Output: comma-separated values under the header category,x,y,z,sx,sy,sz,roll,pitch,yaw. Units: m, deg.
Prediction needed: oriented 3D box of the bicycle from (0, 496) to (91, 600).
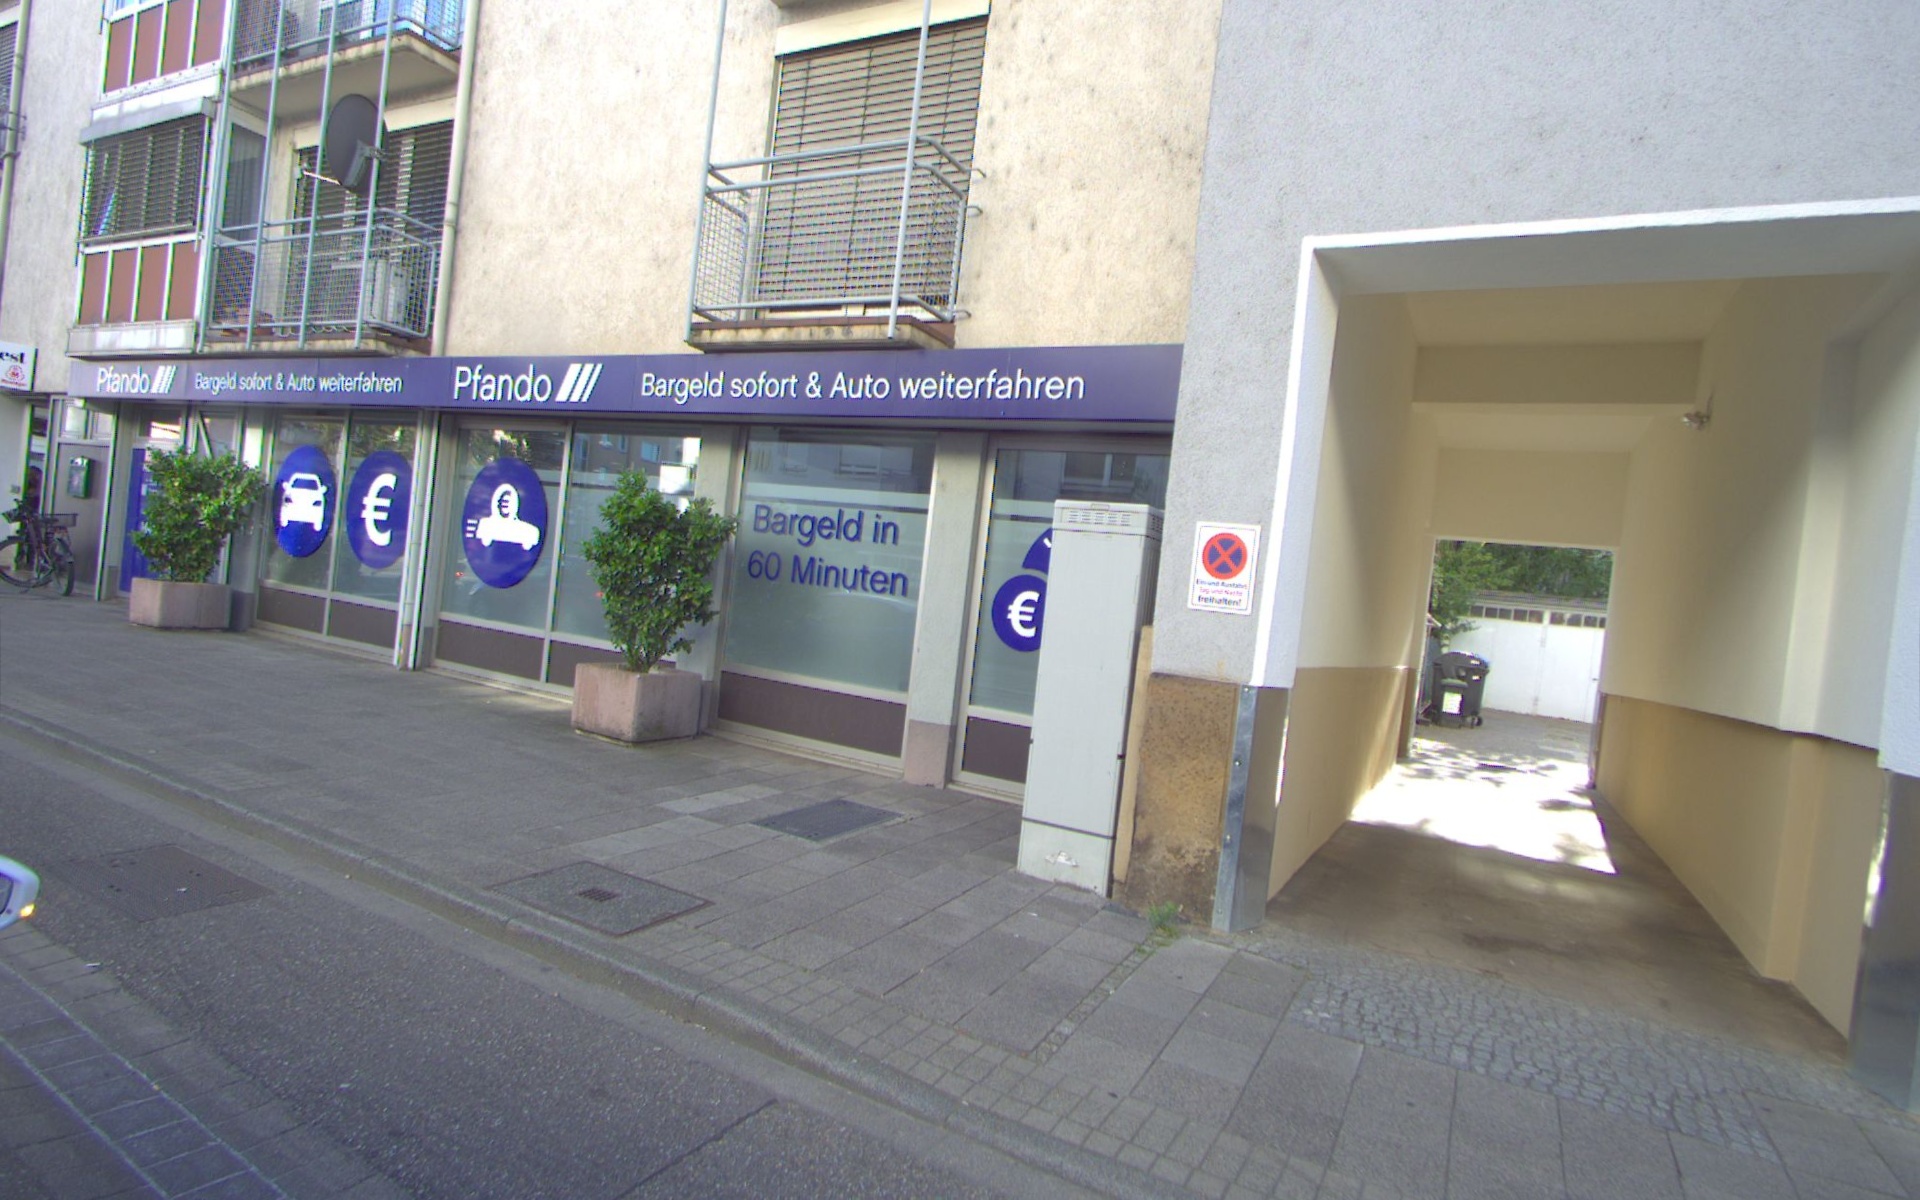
category,x,y,z,sx,sy,sz,roll,pitch,yaw
bicycle,-11.875,-0.685,12.871,1.747,1.176,0.497,6,0,29

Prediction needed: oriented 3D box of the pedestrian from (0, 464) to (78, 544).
category,x,y,z,sx,sy,sz,roll,pitch,yaw
pedestrian,-14.236,-1.468,15.492,0.667,1.102,0.624,7,2,-5

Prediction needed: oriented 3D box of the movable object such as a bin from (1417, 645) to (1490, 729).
category,x,y,z,sx,sy,sz,roll,pitch,yaw
movable object such as a bin,9.992,1.760,20.361,1.092,1.511,1.329,6,-2,30
